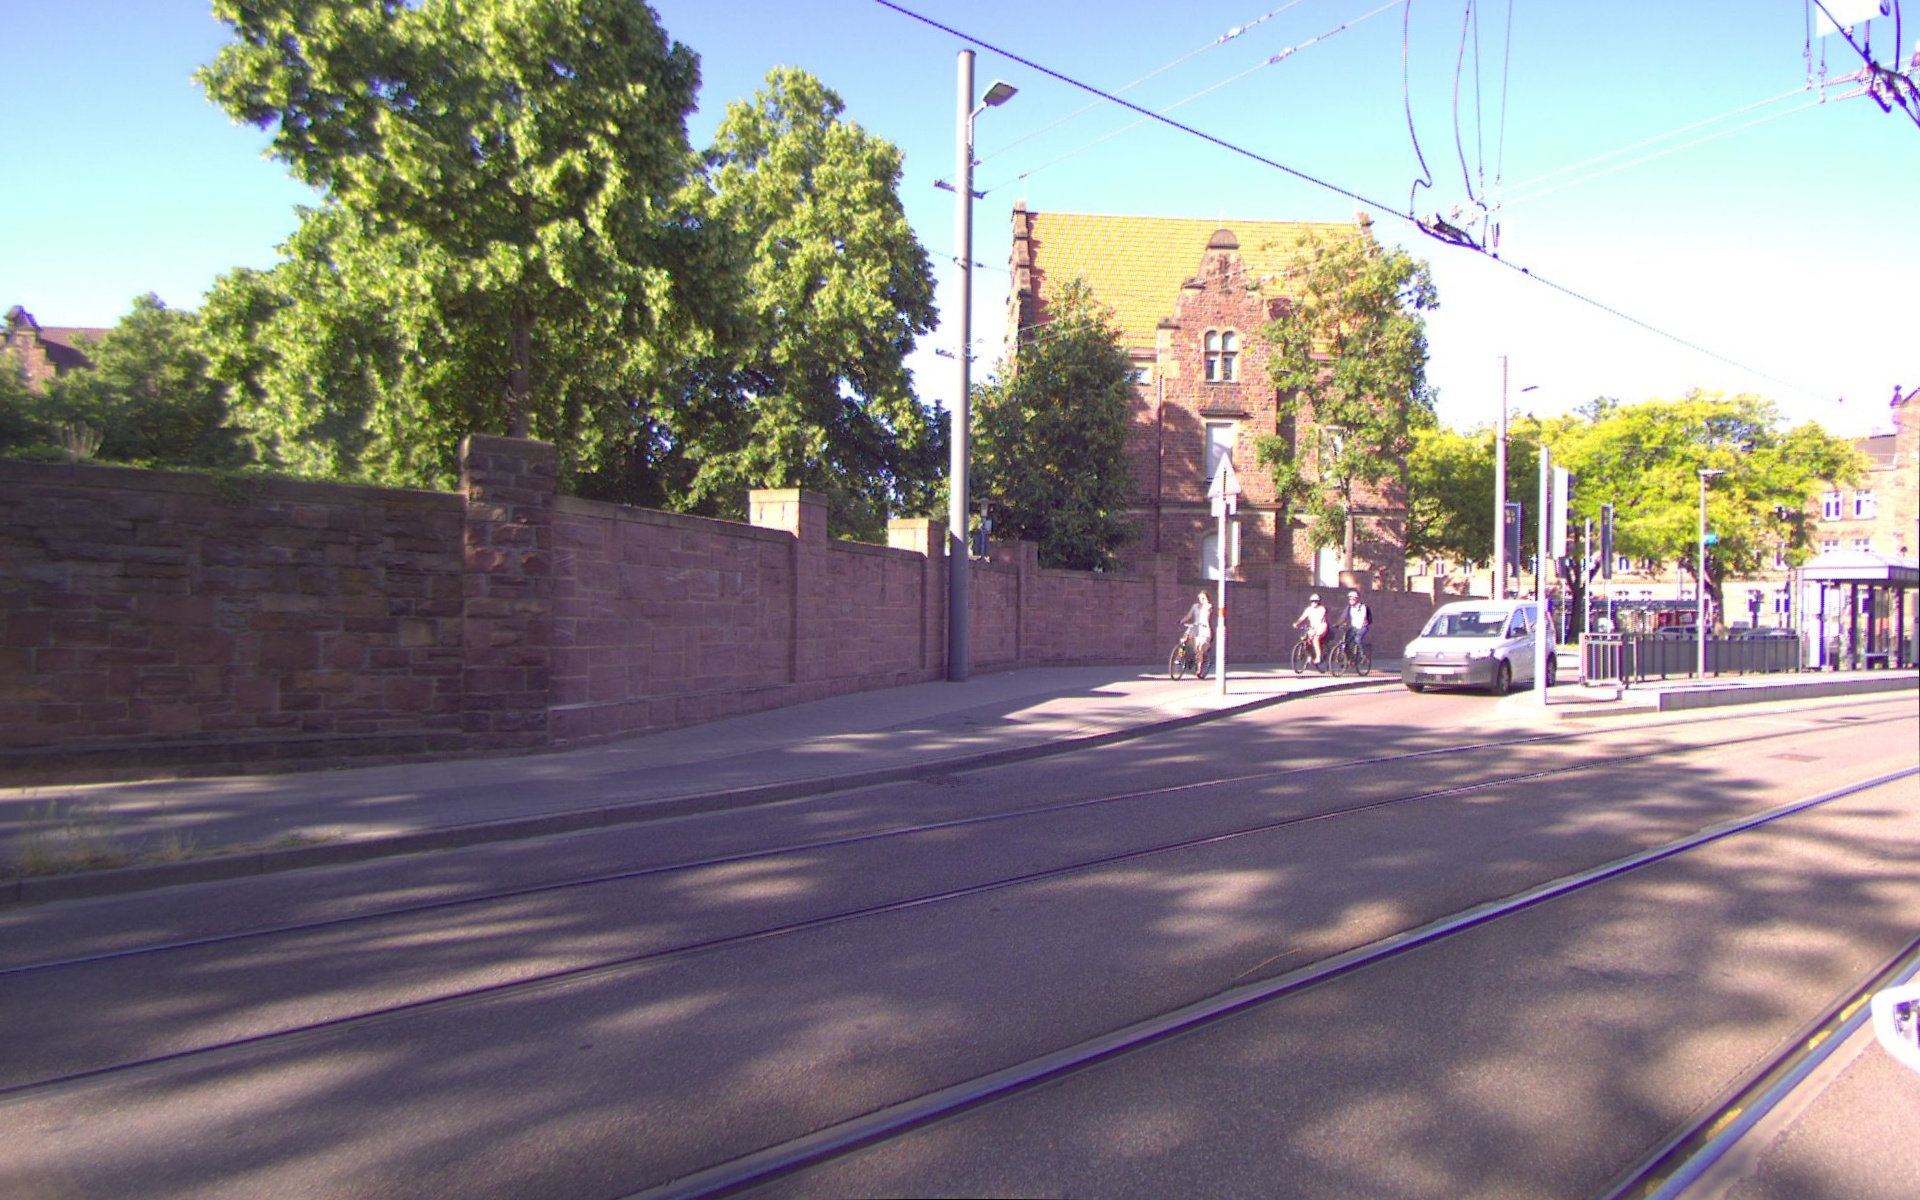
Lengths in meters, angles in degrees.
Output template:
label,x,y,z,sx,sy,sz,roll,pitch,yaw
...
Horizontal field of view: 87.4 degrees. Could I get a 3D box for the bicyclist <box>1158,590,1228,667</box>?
label,x,y,z,sx,sy,sz,roll,pitch,yaw
bicyclist,4.663,0.561,20.073,1.180,1.490,0.751,2,0,-38

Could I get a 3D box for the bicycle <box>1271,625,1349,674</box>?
label,x,y,z,sx,sy,sz,roll,pitch,yaw
bicycle,8.252,1.152,23.637,1.994,1.087,0.665,1,1,-34

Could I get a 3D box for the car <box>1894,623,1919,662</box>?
label,x,y,z,sx,sy,sz,roll,pitch,yaw
car,43.163,1.925,44.450,4.284,1.638,1.815,2,-1,-35

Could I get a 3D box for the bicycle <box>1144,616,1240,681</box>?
label,x,y,z,sx,sy,sz,roll,pitch,yaw
bicycle,4.649,0.957,20.074,1.935,1.214,0.809,2,0,-38

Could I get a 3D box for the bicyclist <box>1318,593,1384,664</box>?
label,x,y,z,sx,sy,sz,roll,pitch,yaw
bicyclist,8.824,0.644,22.657,1.334,1.556,0.756,1,-1,-34

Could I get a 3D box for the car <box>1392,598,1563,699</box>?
label,x,y,z,sx,sy,sz,roll,pitch,yaw
car,10.463,0.892,20.184,4.226,1.812,1.809,1,0,-44

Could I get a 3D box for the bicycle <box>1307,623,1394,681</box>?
label,x,y,z,sx,sy,sz,roll,pitch,yaw
bicycle,8.827,1.149,22.669,2.067,1.247,0.772,1,0,-34

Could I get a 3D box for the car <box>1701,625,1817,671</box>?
label,x,y,z,sx,sy,sz,roll,pitch,yaw
car,26.058,1.516,32.714,4.450,1.401,1.786,1,-1,-35

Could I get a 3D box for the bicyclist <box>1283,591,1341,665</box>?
label,x,y,z,sx,sy,sz,roll,pitch,yaw
bicyclist,8.280,0.641,23.633,1.220,1.697,0.646,0,1,-34
